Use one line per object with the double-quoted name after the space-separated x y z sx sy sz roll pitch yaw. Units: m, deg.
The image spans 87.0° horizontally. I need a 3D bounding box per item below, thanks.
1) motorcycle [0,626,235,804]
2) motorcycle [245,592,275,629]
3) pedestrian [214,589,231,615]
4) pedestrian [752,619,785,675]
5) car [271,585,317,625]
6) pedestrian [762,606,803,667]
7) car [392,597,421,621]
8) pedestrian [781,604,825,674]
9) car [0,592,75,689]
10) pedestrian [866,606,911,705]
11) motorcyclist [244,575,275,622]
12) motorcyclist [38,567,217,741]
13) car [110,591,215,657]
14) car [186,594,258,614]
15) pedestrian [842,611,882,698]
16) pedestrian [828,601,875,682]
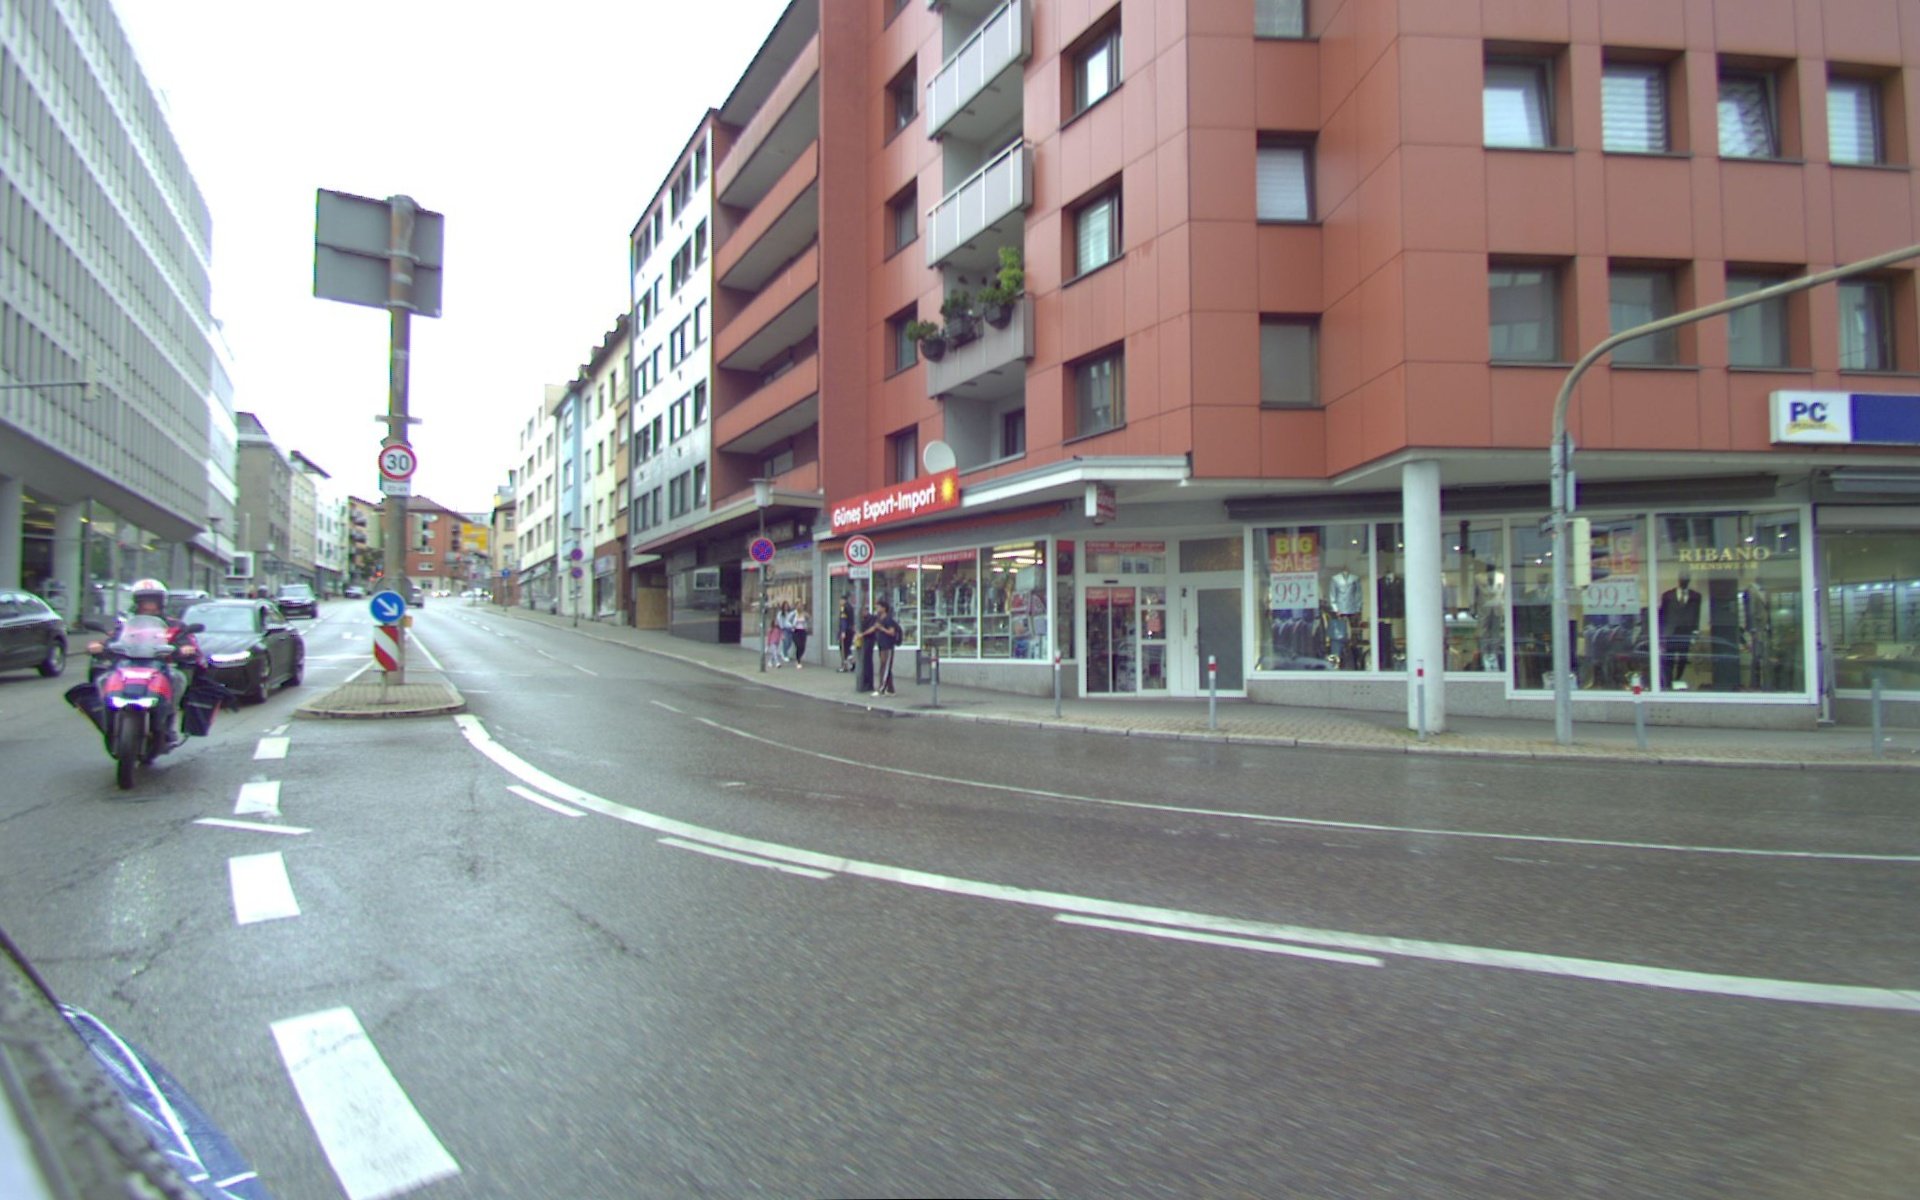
-7.190 0.890 8.830 0.994 1.235 2.702 2 -1 -28 "motorcycle"
-24.762 0.344 35.800 0.833 1.235 2.379 -2 2 -35 "motorcycle"
-50.028 0.138 68.674 0.773 1.718 1.124 4 -2 -33 "pedestrian"
-4.778 1.168 25.266 0.526 1.333 0.725 -1 1 -38 "pedestrian"
-33.222 0.251 50.497 1.819 1.918 3.775 1 0 -33 "car"
-4.763 0.966 27.141 0.817 1.572 0.725 -2 1 -38 "pedestrian"
-41.478 0.640 75.810 1.711 1.604 4.188 4 -1 -30 "car"
-3.912 0.957 25.268 0.817 1.702 0.725 -2 1 -38 "pedestrian"
-16.573 0.627 16.667 1.797 1.572 4.215 2 -1 -24 "car"
-1.362 1.038 19.352 0.714 1.845 0.829 1 0 4 "pedestrian"
-24.716 -0.051 35.716 0.833 1.601 0.965 -2 1 -35 "motorcyclist"
-7.106 0.452 8.705 0.994 1.391 0.837 2 -1 -28 "motorcyclist"
-21.411 0.579 27.322 1.802 1.552 4.264 -3 2 -33 "car"
-60.568 0.286 83.131 4.457 1.515 2.007 -1 1 -26 "car"
-1.987 1.086 20.532 0.546 1.710 0.625 1 0 -33 "pedestrian"
-2.575 0.958 23.997 0.751 1.862 0.845 1 0 -40 "pedestrian"
